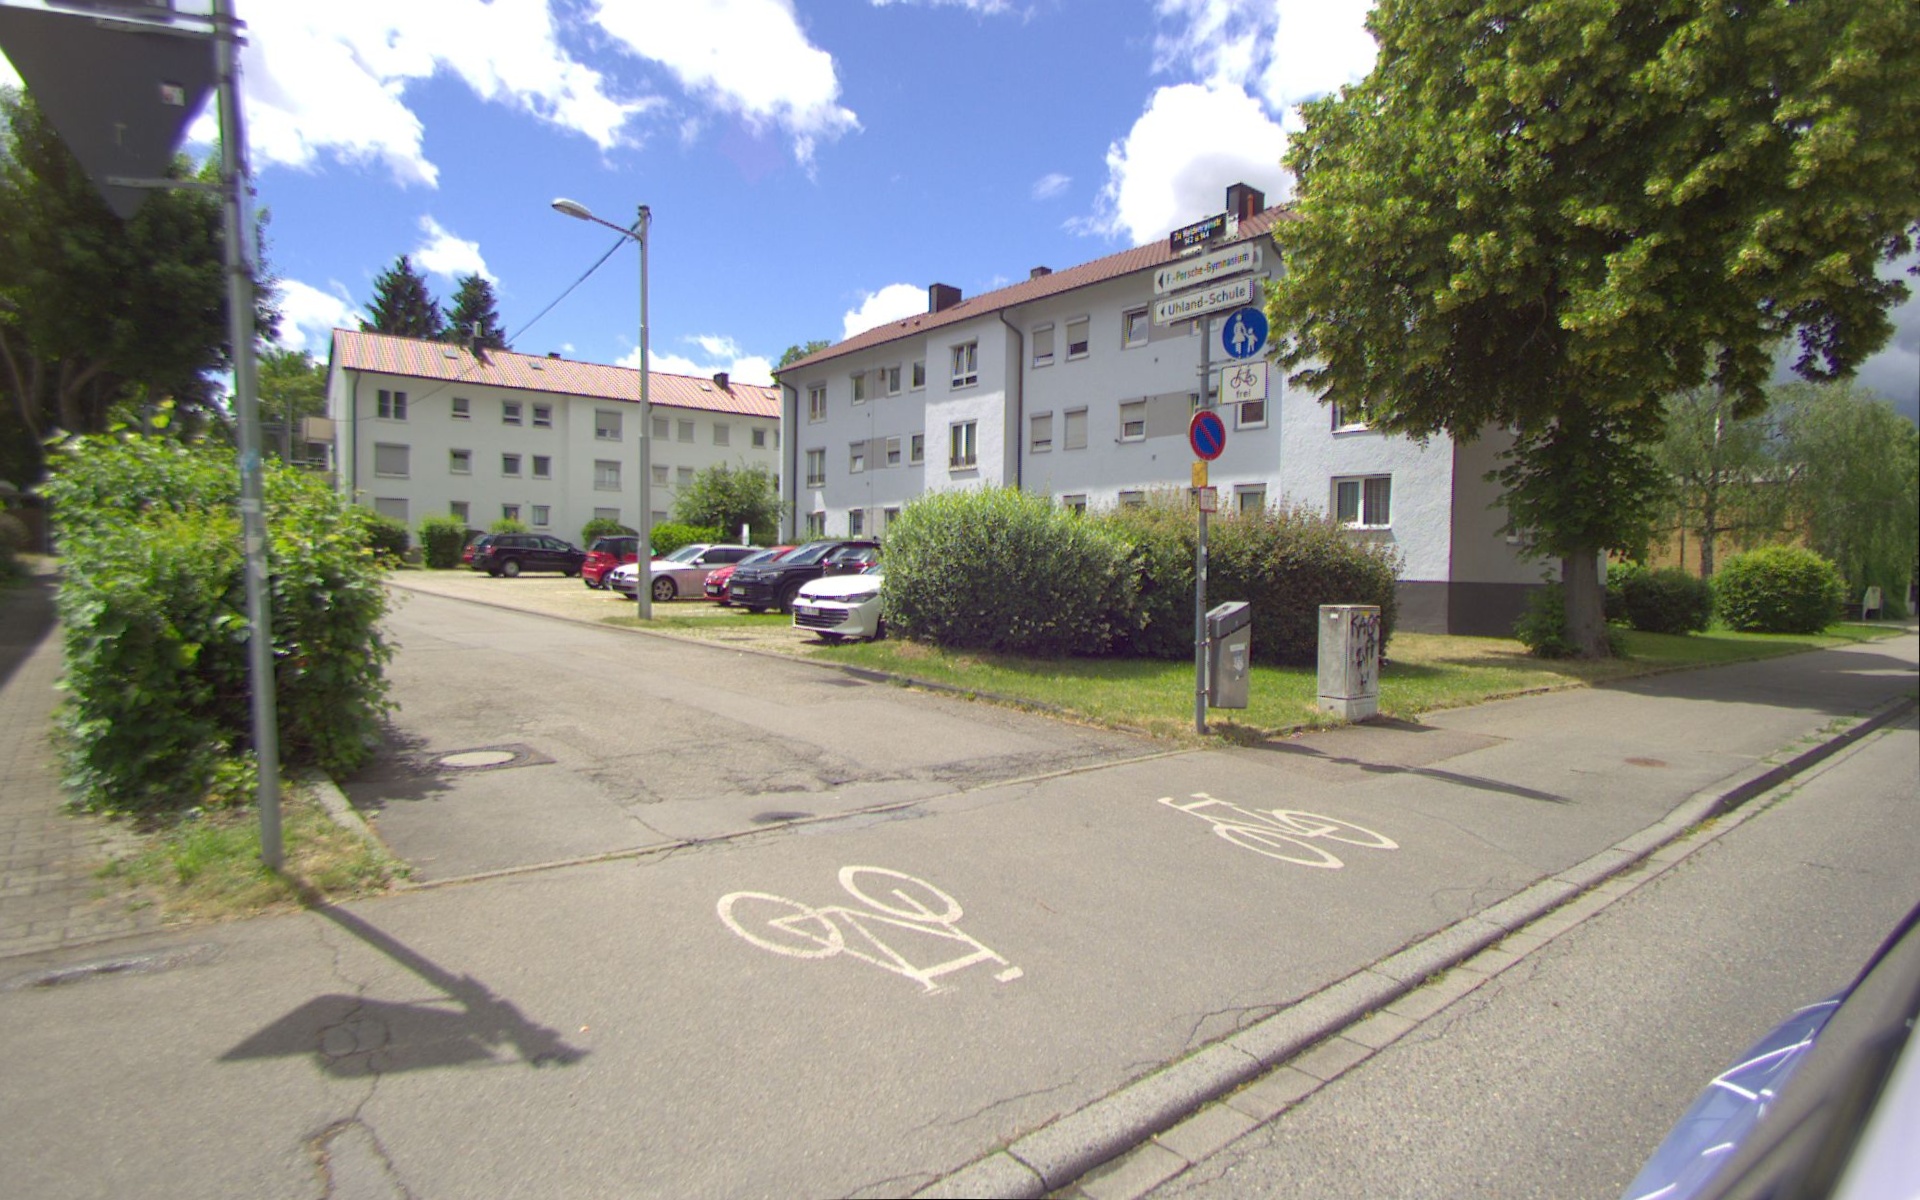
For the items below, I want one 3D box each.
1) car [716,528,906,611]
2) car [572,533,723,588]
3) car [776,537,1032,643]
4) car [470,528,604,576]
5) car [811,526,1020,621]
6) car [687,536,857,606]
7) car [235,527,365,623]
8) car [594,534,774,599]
[{"bbox_3d":[-3.189,-0.642,21.958,3.677,1.649,1.831,0,2,-41],"label":"car"},{"bbox_3d":[-9.303,-1.156,30.316,4.008,1.501,1.627,0,3,-41],"label":"car"},{"bbox_3d":[-0.784,-0.142,15.490,3.677,1.434,1.678,0,0,-41],"label":"car"},{"bbox_3d":[-14.700,-1.650,35.270,4.008,1.501,1.627,0,3,-41],"label":"car"},{"bbox_3d":[-0.770,-0.457,18.873,3.677,1.588,1.678,0,0,-41],"label":"car"},{"bbox_3d":[-4.504,-0.699,24.521,3.677,1.532,1.684,0,3,-41],"label":"car"},{"bbox_3d":[-11.388,-0.490,17.365,1.544,1.456,3.737,0,3,-38],"label":"car"},{"bbox_3d":[-6.916,-0.830,25.584,4.008,1.501,1.769,0,3,-41],"label":"car"}]
